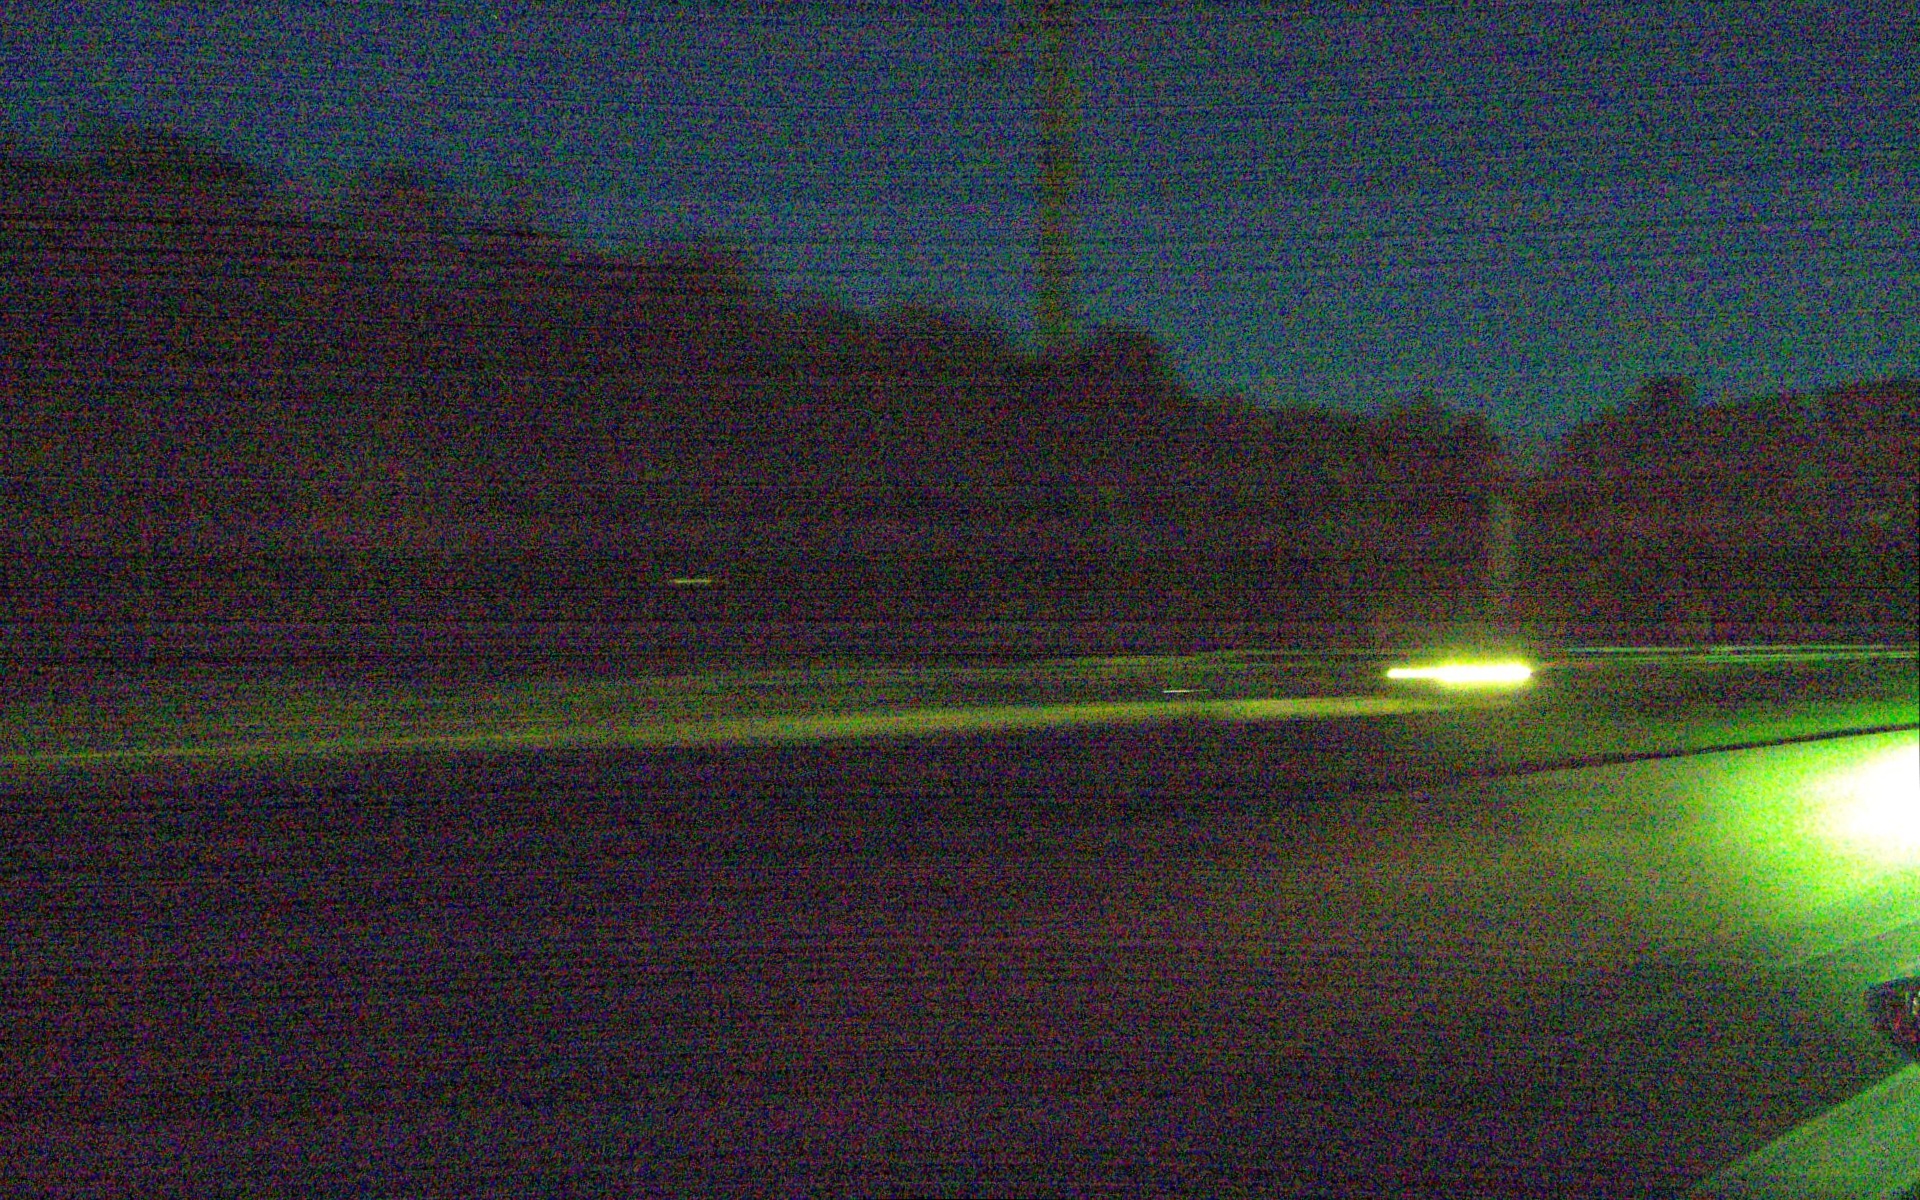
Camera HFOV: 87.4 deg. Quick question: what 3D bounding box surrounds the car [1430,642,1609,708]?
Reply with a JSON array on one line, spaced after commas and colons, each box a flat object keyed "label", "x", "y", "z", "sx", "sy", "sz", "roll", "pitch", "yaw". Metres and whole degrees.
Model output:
[{"label": "car", "x": 13.804, "y": 1.816, "z": 24.735, "sx": 4.508, "sy": 1.485, "sz": 1.812, "roll": 2, "pitch": -5, "yaw": -31}]
